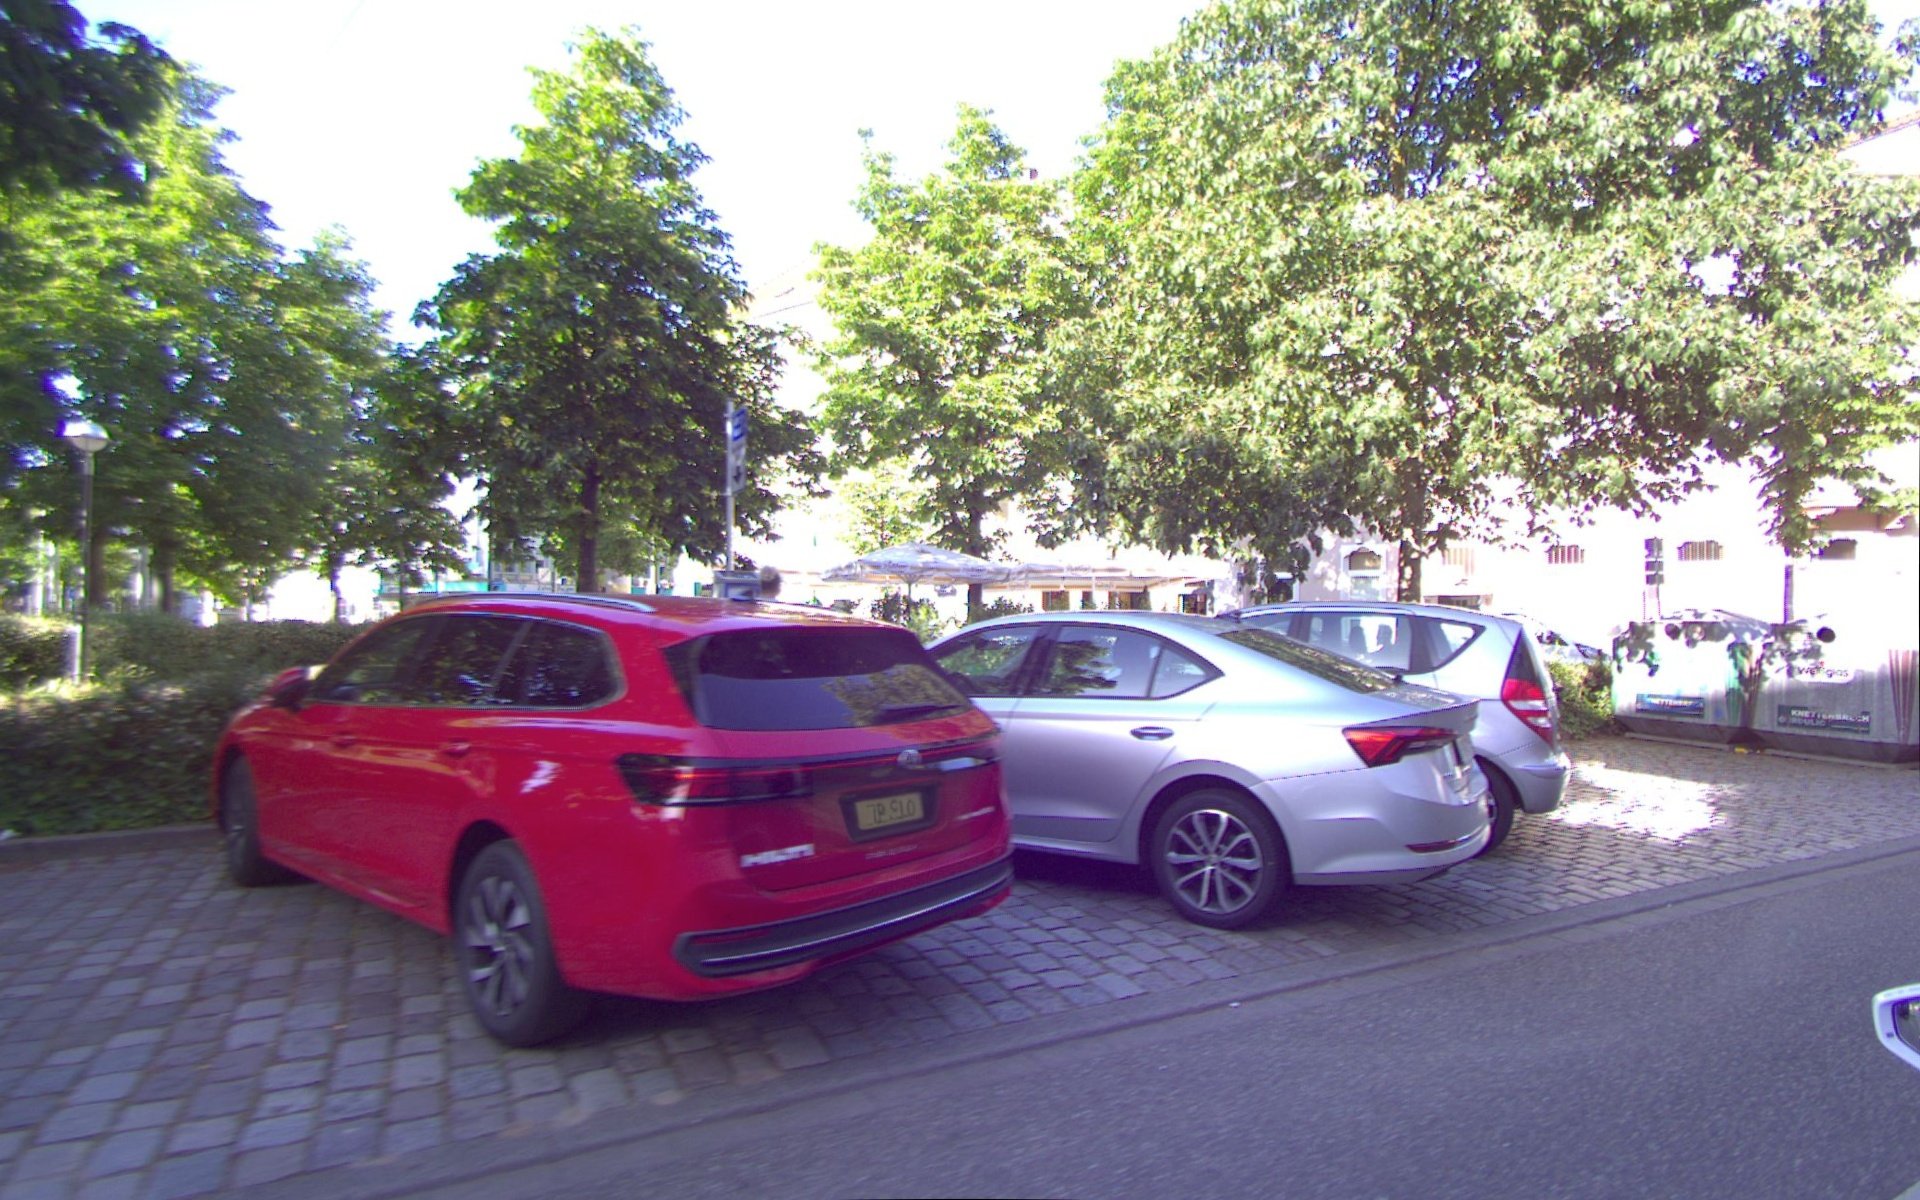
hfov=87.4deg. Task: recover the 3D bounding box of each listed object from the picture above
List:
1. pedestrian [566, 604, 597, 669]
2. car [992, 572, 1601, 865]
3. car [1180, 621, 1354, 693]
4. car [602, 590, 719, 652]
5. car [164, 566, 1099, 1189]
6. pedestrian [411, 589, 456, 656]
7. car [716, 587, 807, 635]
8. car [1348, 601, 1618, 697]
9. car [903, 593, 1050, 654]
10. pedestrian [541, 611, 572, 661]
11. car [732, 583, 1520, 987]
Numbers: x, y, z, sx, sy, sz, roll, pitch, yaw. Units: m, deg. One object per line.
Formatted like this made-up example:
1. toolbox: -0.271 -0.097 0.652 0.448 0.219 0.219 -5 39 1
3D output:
1. pedestrian: -9.369 0.884 24.863 0.548 1.567 0.672 2 0 -11
2. car: 2.422 0.677 7.575 3.929 1.607 1.827 2 0 30
3. car: 7.991 1.442 26.263 3.859 1.585 1.972 2 -1 39
4. car: -12.598 0.831 42.089 5.271 2.344 1.992 2 0 39
5. car: -1.893 0.657 4.654 4.775 1.508 1.757 2 -1 39
6. pedestrian: -11.921 0.506 22.759 0.549 1.484 0.671 2 0 33
7. car: -9.614 0.512 48.482 4.763 2.039 1.544 2 -5 41
8. car: 11.862 1.028 22.945 5.194 1.823 2.156 2 0 36
9. car: 0.558 0.846 38.139 5.502 2.040 1.812 2 0 36
10. pedestrian: -10.390 0.929 25.870 0.553 1.253 0.666 2 0 -36
11. car: 0.784 0.731 5.854 4.164 1.496 1.731 2 0 34
